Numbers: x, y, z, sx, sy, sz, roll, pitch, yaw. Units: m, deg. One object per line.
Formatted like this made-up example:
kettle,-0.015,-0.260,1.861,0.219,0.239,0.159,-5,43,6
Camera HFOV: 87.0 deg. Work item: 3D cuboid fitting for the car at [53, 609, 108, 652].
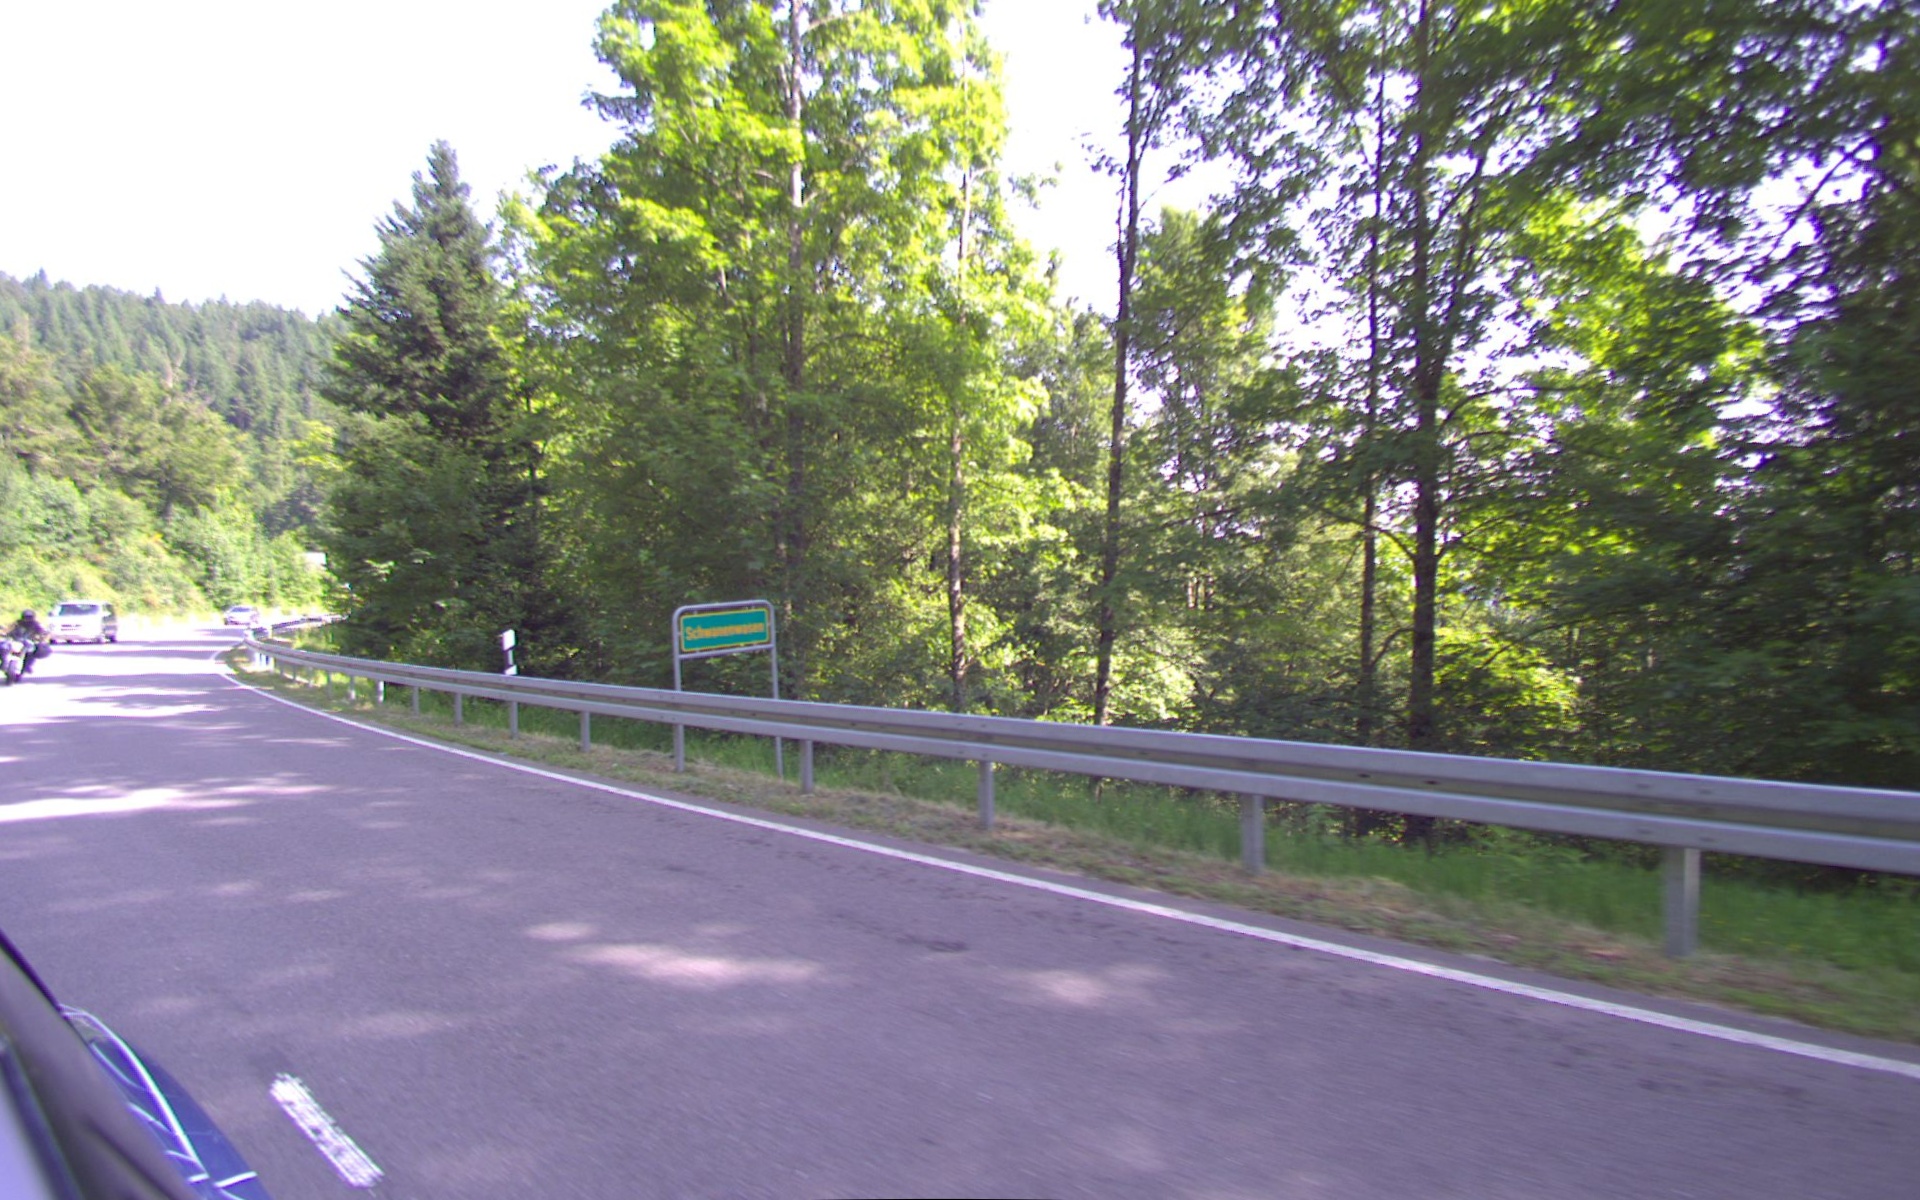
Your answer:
car,-38.903,1.322,44.817,1.627,1.773,3.802,2,-1,-38

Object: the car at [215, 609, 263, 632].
car,-55.320,1.528,77.722,1.966,1.655,4.013,0,1,-19

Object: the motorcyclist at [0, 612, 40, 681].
motorcyclist,-20.397,0.987,21.812,0.705,1.441,1.001,-1,0,-36

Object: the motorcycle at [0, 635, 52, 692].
motorcycle,-20.458,1.345,21.839,1.092,1.132,1.965,1,-1,-36
